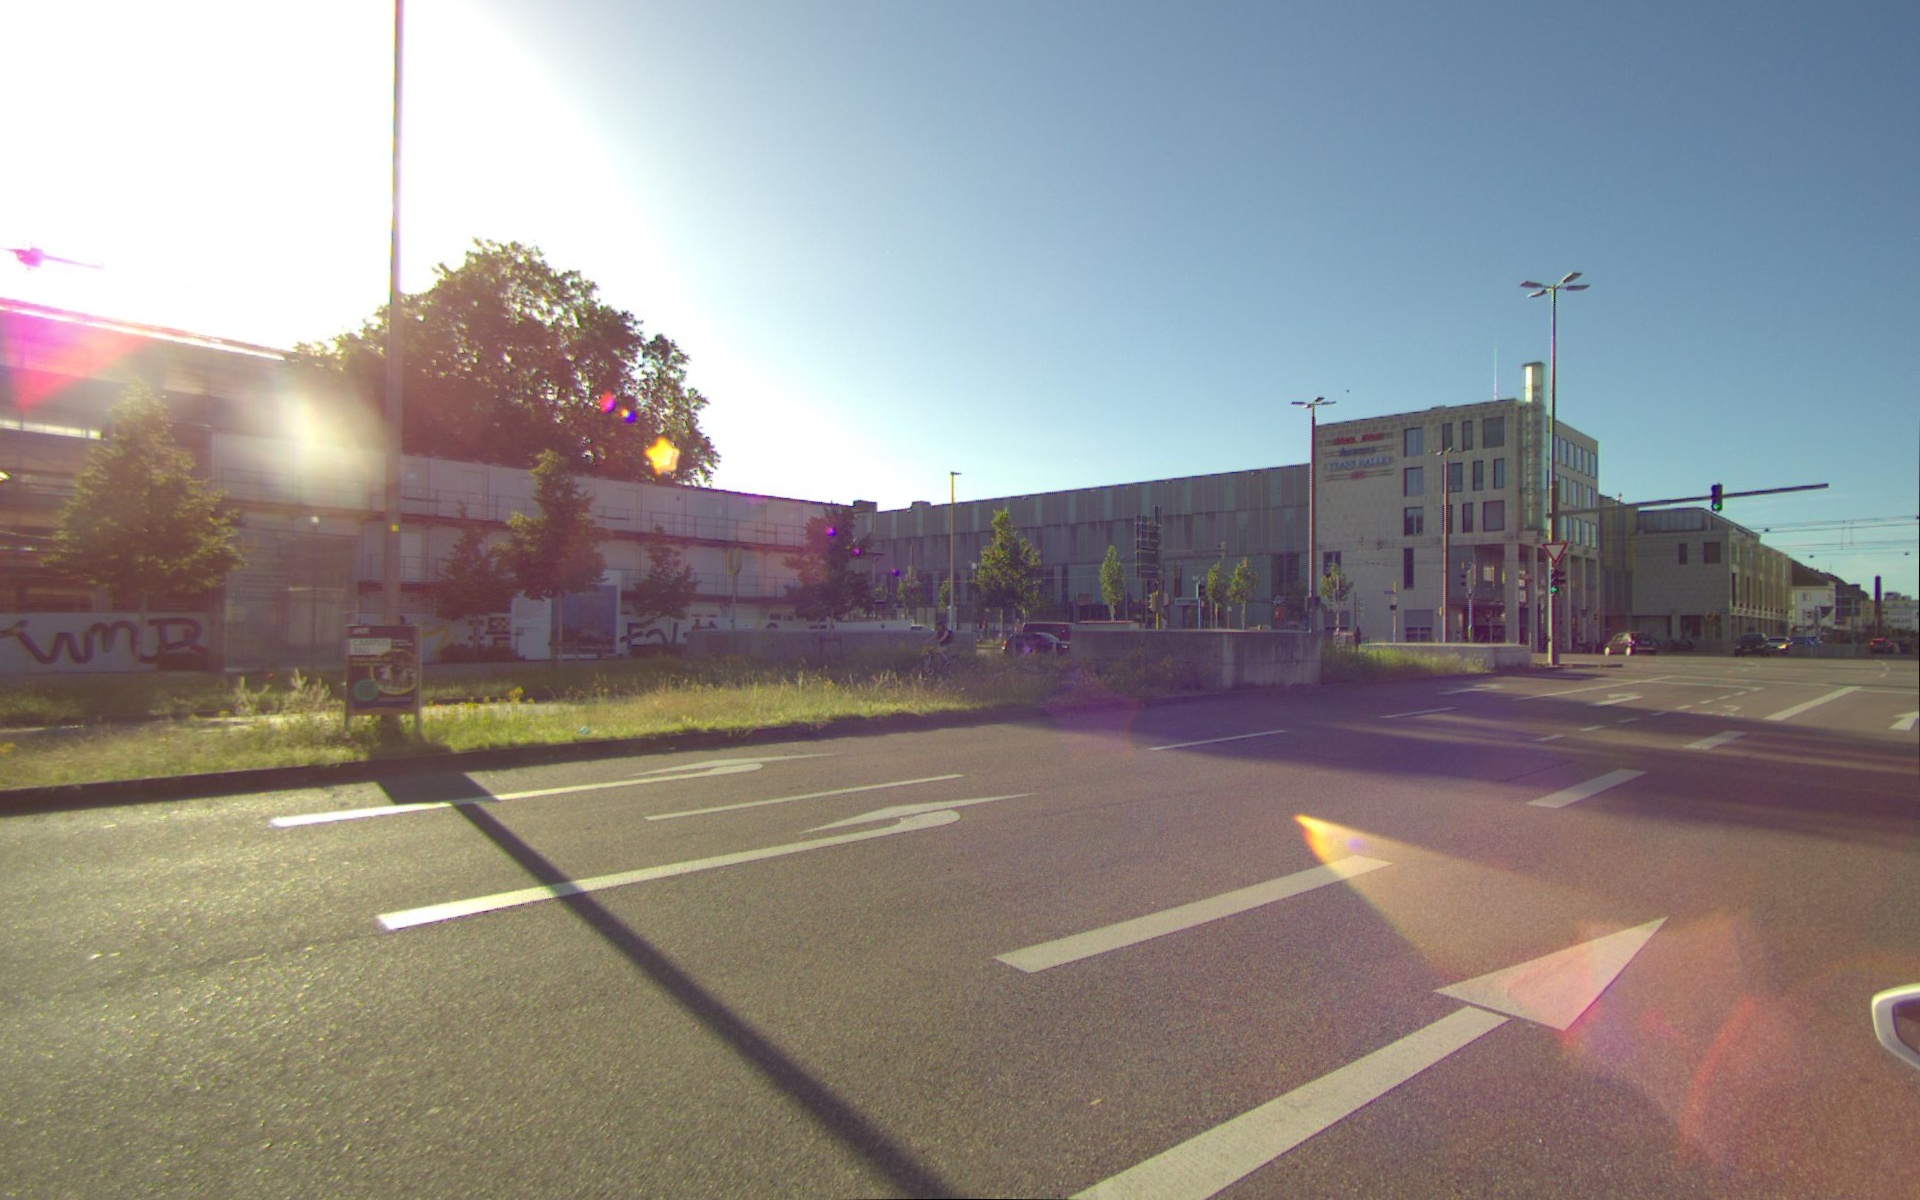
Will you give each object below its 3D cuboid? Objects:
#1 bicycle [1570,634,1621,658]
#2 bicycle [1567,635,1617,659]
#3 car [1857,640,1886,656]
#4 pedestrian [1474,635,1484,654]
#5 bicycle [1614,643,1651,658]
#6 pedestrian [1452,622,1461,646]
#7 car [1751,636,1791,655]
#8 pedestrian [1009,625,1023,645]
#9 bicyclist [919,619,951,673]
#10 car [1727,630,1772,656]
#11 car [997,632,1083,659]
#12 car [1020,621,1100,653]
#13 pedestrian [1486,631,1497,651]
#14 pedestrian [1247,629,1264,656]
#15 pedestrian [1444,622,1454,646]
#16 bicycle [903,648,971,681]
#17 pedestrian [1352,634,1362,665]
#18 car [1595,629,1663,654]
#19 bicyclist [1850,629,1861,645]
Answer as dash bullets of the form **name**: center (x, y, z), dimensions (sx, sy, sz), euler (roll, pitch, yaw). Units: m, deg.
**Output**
- **bicycle**: center (55.523, 4.002, 87.771), dimensions (3.582, 2.040, 1.080), euler (-2, -2, 43)
- **bicycle**: center (54.596, 4.027, 86.815), dimensions (3.578, 2.040, 1.082), euler (-1, -2, 40)
- **car**: center (93.061, 4.912, 102.570), dimensions (1.970, 1.572, 3.981), euler (-1, -2, 40)
- **pedestrian**: center (43.197, 3.692, 83.623), dimensions (0.649, 1.629, 0.617), euler (2, -2, -44)
- **bicycle**: center (67.727, 5.088, 101.165), dimensions (3.018, 1.419, 0.897), euler (-2, -2, 43)
- **pedestrian**: center (42.587, 2.883, 86.207), dimensions (0.615, 2.040, 0.514), euler (-1, -2, 39)
- **car**: center (66.985, 3.713, 82.904), dimensions (4.613, 1.374, 1.975), euler (0, -1, -43)
- **pedestrian**: center (4.272, 2.638, 76.122), dimensions (0.791, 1.522, 0.721), euler (-1, -2, 39)
- **bicyclist**: center (-0.711, 1.291, 28.333), dimensions (0.675, 1.508, 0.602), euler (1, -1, -38)
- **car**: center (57.545, 3.105, 73.158), dimensions (4.614, 1.765, 1.974), euler (0, -1, -44)
- **car**: center (4.448, 2.528, 56.108), dimensions (4.584, 1.392, 1.864), euler (-2, -4, 40)
- **car**: center (6.036, 2.218, 60.759), dimensions (4.584, 1.833, 1.864), euler (-2, -4, 40)
- **pedestrian**: center (43.871, 3.393, 82.878), dimensions (0.649, 1.629, 0.617), euler (2, -2, -44)
- **pedestrian**: center (16.850, 2.413, 57.285), dimensions (0.713, 1.522, 0.800), euler (-1, -2, 38)
- **pedestrian**: center (41.795, 2.863, 85.859), dimensions (0.615, 2.040, 0.514), euler (-1, -2, 39)
- **bicycle**: center (-0.637, 1.808, 28.379), dimensions (1.934, 0.873, 0.607), euler (1, -2, -39)
- **pedestrian**: center (26.081, 3.260, 66.004), dimensions (0.507, 2.040, 0.623), euler (-1, -1, 34)
- **car**: center (42.835, 2.642, 64.390), dimensions (1.747, 1.584, 3.789), euler (0, -1, -2)
- **bicyclist**: center (84.558, 3.474, 94.886), dimensions (0.738, 1.480, 0.762), euler (-1, -2, 44)
